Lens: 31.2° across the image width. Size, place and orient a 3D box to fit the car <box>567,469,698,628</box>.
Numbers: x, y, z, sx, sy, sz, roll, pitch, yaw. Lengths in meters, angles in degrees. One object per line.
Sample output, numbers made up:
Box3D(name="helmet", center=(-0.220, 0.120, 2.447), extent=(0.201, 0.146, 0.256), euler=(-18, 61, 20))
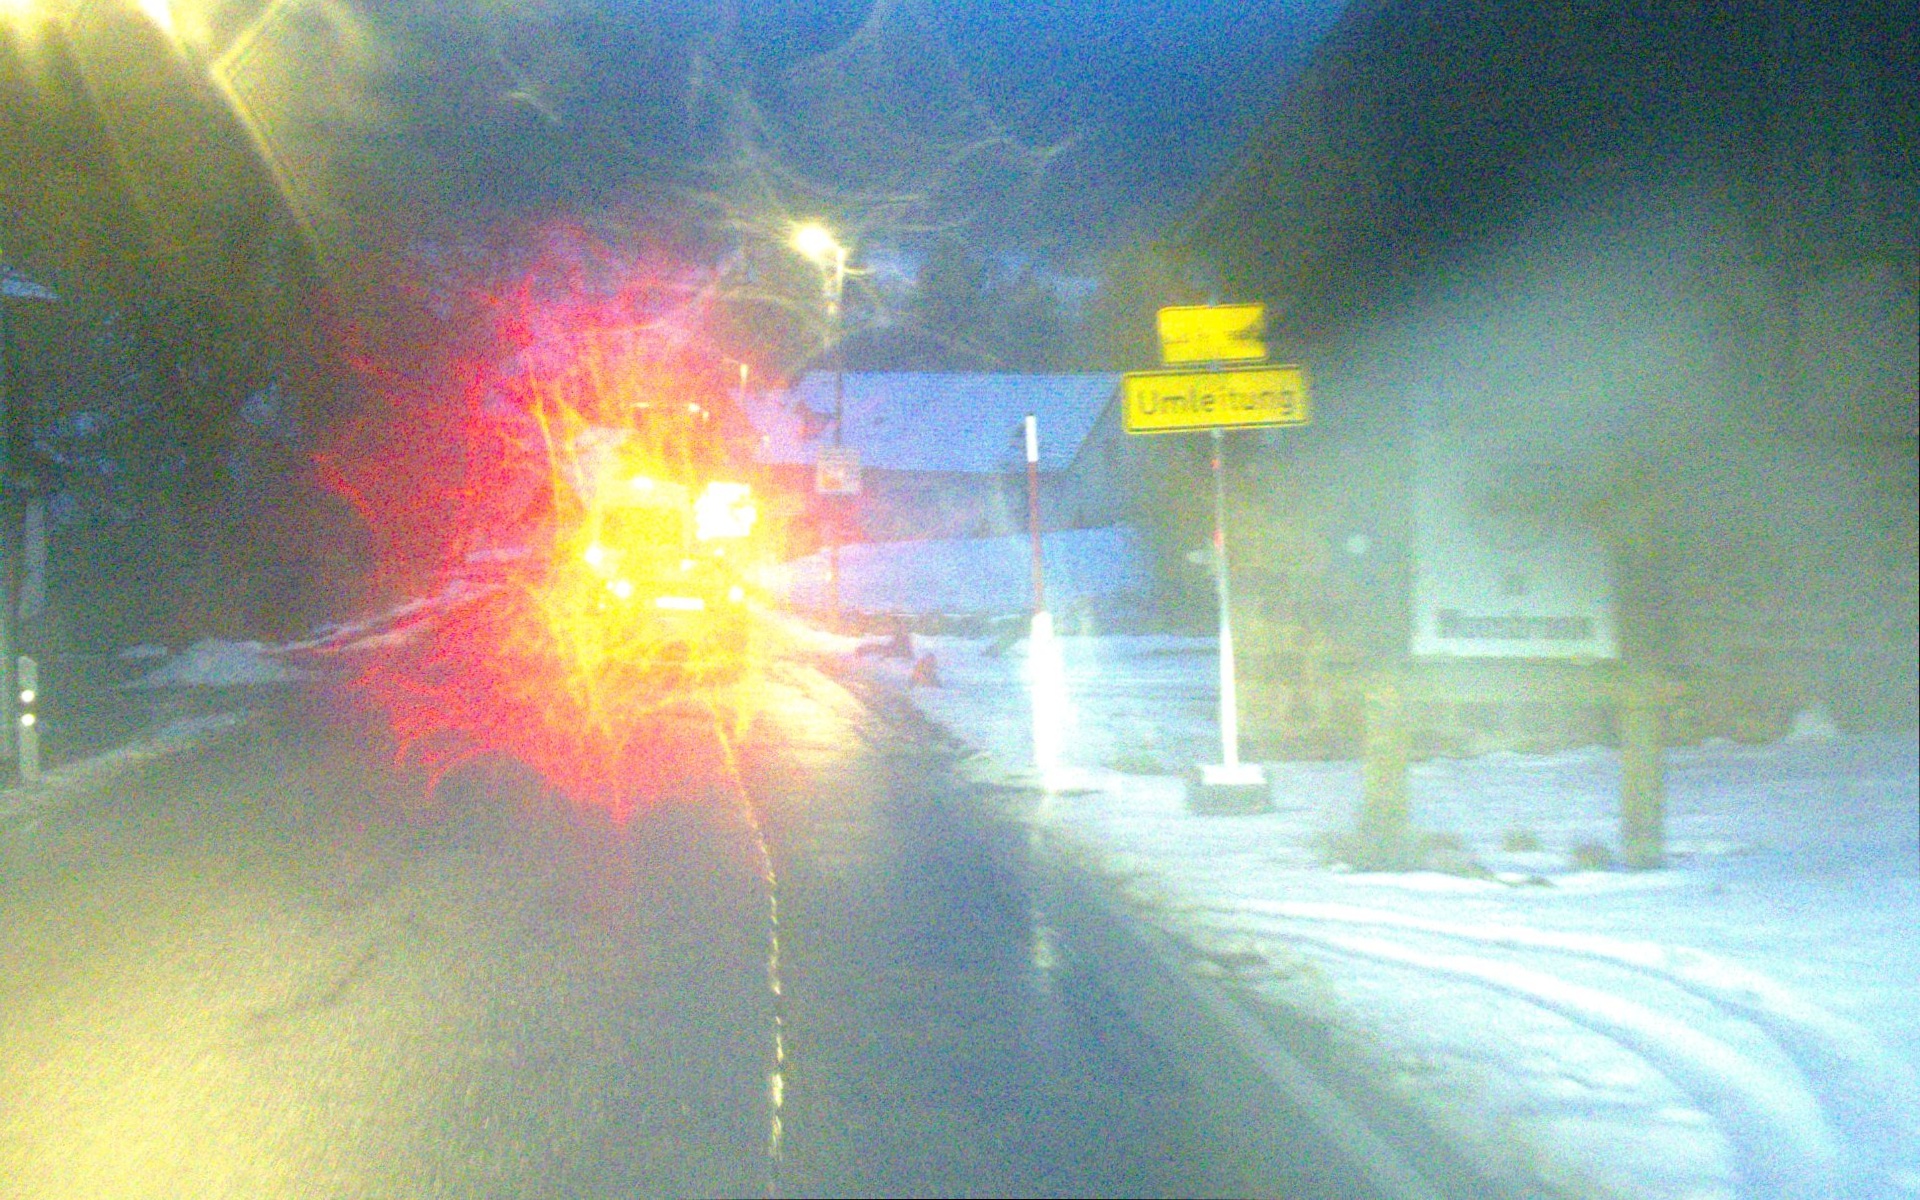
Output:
Box3D(name="car", center=(-6.504, -0.969, 68.835), extent=(2.435, 3.008, 5.325), euler=(-1, 0, -4))

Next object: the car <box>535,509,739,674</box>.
Box3D(name="car", center=(-3.855, -0.153, 41.335), extent=(2.274, 1.834, 5.008), euler=(-1, 1, -5))
